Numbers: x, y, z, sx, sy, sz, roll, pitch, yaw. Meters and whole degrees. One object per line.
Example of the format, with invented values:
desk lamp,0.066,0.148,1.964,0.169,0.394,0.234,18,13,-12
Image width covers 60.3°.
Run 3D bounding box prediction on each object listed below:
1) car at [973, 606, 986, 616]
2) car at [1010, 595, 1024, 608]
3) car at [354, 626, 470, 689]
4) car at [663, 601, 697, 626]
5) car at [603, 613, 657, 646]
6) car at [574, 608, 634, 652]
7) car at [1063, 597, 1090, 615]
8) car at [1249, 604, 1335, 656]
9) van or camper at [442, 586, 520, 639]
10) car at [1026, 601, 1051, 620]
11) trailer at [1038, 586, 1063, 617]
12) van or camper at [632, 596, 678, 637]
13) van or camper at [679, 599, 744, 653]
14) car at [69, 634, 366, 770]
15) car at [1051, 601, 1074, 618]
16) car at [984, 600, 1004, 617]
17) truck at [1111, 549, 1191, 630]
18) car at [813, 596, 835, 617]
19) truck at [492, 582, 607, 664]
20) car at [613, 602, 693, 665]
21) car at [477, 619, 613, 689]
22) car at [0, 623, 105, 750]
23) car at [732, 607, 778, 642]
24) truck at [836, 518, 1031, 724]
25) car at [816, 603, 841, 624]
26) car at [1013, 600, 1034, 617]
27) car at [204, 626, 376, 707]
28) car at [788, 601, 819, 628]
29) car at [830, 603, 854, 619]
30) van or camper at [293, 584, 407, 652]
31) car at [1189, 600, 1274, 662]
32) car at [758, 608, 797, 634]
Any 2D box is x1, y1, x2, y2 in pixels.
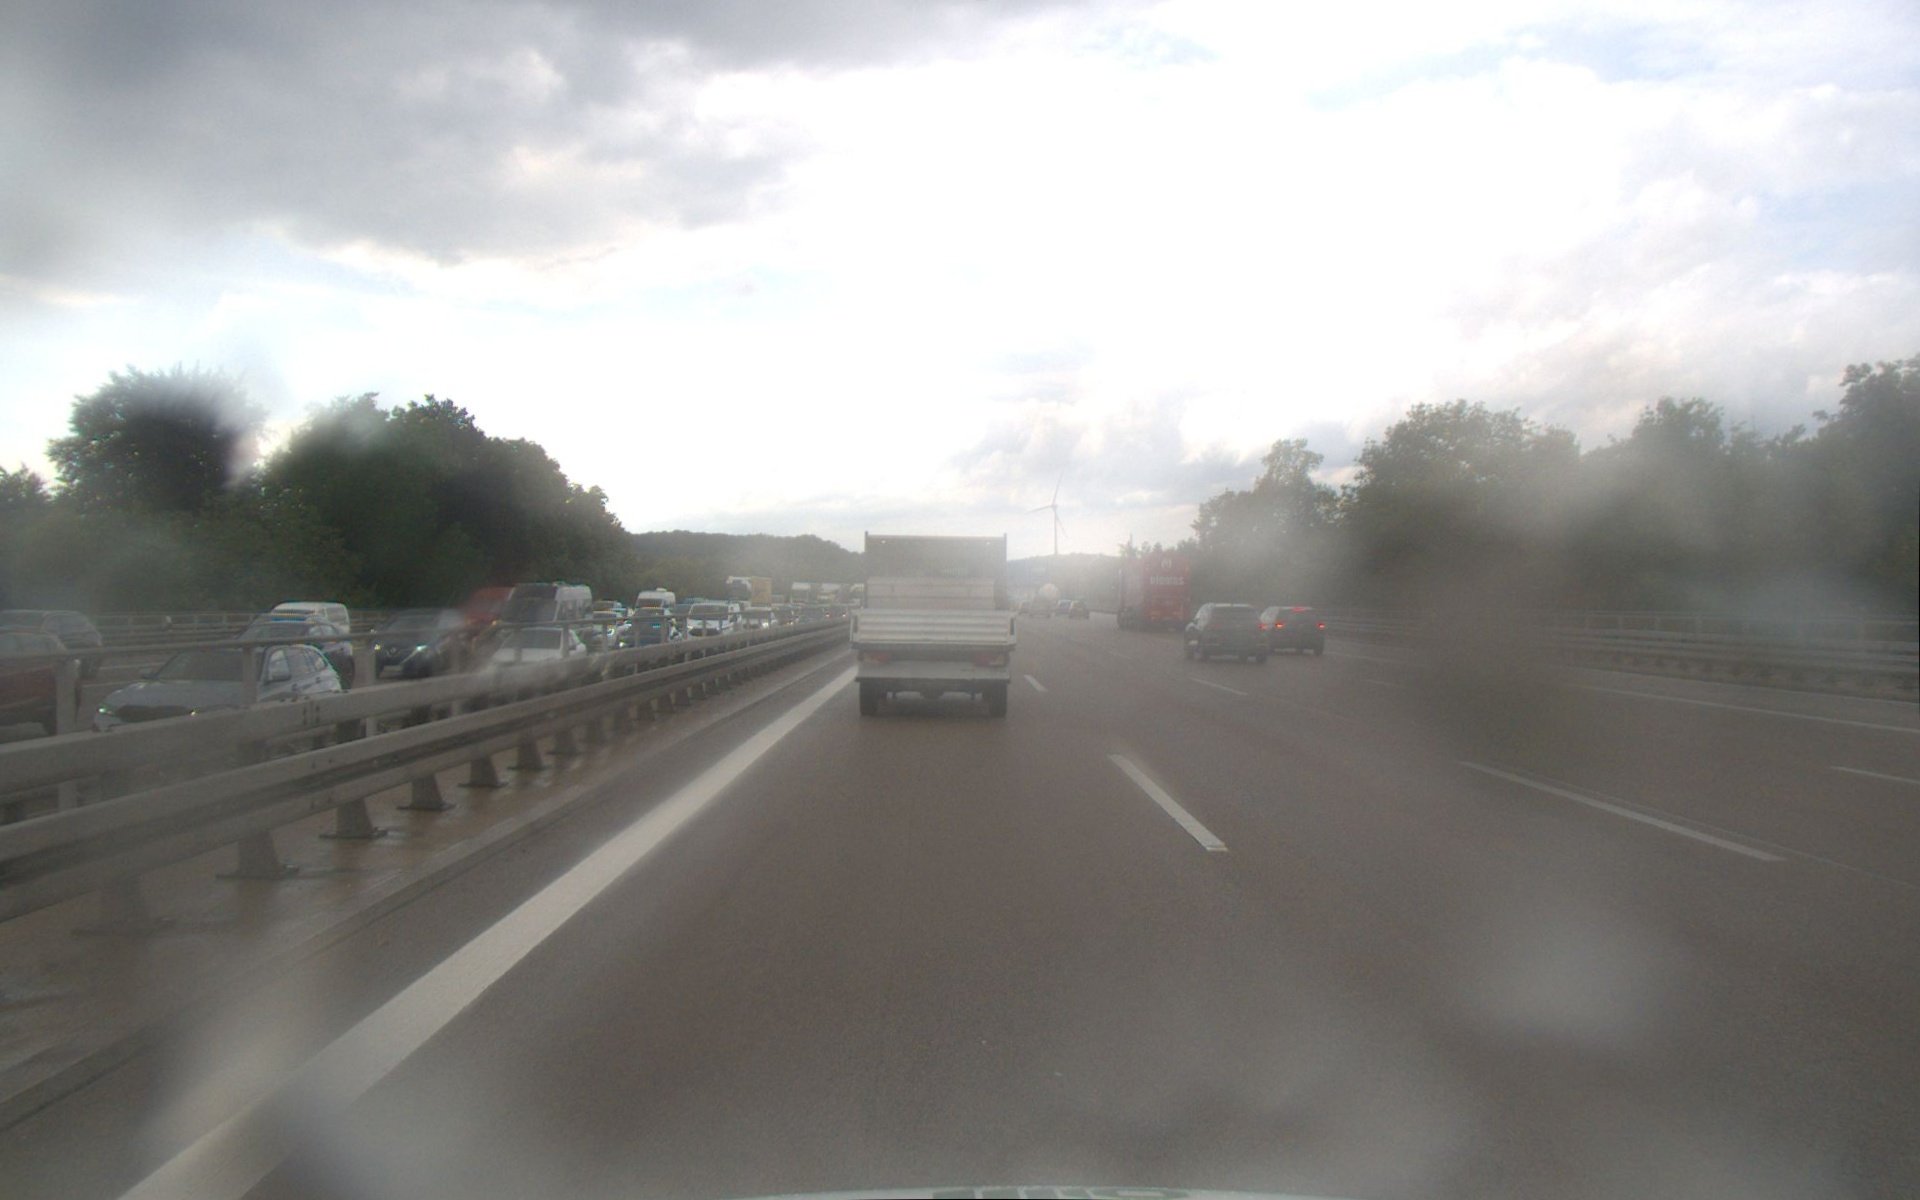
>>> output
car,2.736,1.541,232.249,1.775,1.471,3.999,0,0,-1
car,8.044,0.198,234.718,1.952,1.769,4.001,1,0,2
car,-14.335,1.464,43.456,1.795,1.501,4.031,0,0,-2
car,-18.161,0.880,107.423,1.643,1.607,3.999,0,0,-2
car,-15.547,1.370,78.151,1.643,1.434,5.014,0,0,-2
car,-14.360,1.189,66.922,1.643,1.664,3.999,0,0,-2
car,10.694,0.508,152.356,2.062,1.634,5.064,0,0,-1
car,10.480,0.918,52.503,1.778,1.570,4.357,0,0,-1
van or camper,-22.342,0.549,77.430,2.004,2.370,5.933,0,0,-1
car,7.249,0.936,153.387,2.055,1.729,3.999,0,0,-1
trailer,12.696,0.208,232.336,3.263,4.249,11.841,1,0,2
van or camper,-21.713,1.124,118.091,2.157,2.814,7.229,0,0,-2
van or camper,-10.155,1.016,67.968,1.943,2.104,5.641,0,0,-2
car,-9.968,1.290,22.712,1.913,1.541,5.069,0,0,-2
car,10.810,0.987,174.737,2.003,1.729,5.006,0,0,-1
car,3.478,0.880,168.966,1.932,1.729,3.999,0,0,-1
truck,10.388,-0.534,91.691,3.087,4.073,15.639,0,0,2
car,-16.821,0.750,204.968,2.111,2.548,6.773,0,0,1
truck,-14.267,0.733,58.148,2.103,2.648,8.753,0,0,-2
car,-10.138,1.073,54.942,1.909,1.983,4.723,0,0,-2
car,-10.006,1.262,40.378,1.794,1.501,5.924,0,0,0
car,-13.931,1.204,23.093,1.795,1.676,4.418,0,0,-2
car,-10.370,1.230,84.050,1.788,1.704,5.356,0,0,-2
truck,-0.374,0.255,23.657,2.305,2.450,7.356,1,0,-1
car,-10.808,1.070,136.281,1.829,1.699,5.172,0,0,-2
car,6.708,0.918,174.158,2.003,1.729,3.999,0,0,-1
car,-13.906,1.343,34.623,1.794,1.501,4.575,0,0,-1
car,-11.243,1.005,119.227,1.828,1.858,5.707,0,0,-2
car,-10.737,0.990,150.648,1.954,1.489,4.840,0,0,-2
van or camper,-22.012,0.609,59.999,1.900,2.345,6.233,0,0,-1
car,7.282,0.819,44.649,1.755,1.590,3.722,1,-1,1
car,-10.651,1.210,96.888,1.836,1.416,5.363,0,0,-2
